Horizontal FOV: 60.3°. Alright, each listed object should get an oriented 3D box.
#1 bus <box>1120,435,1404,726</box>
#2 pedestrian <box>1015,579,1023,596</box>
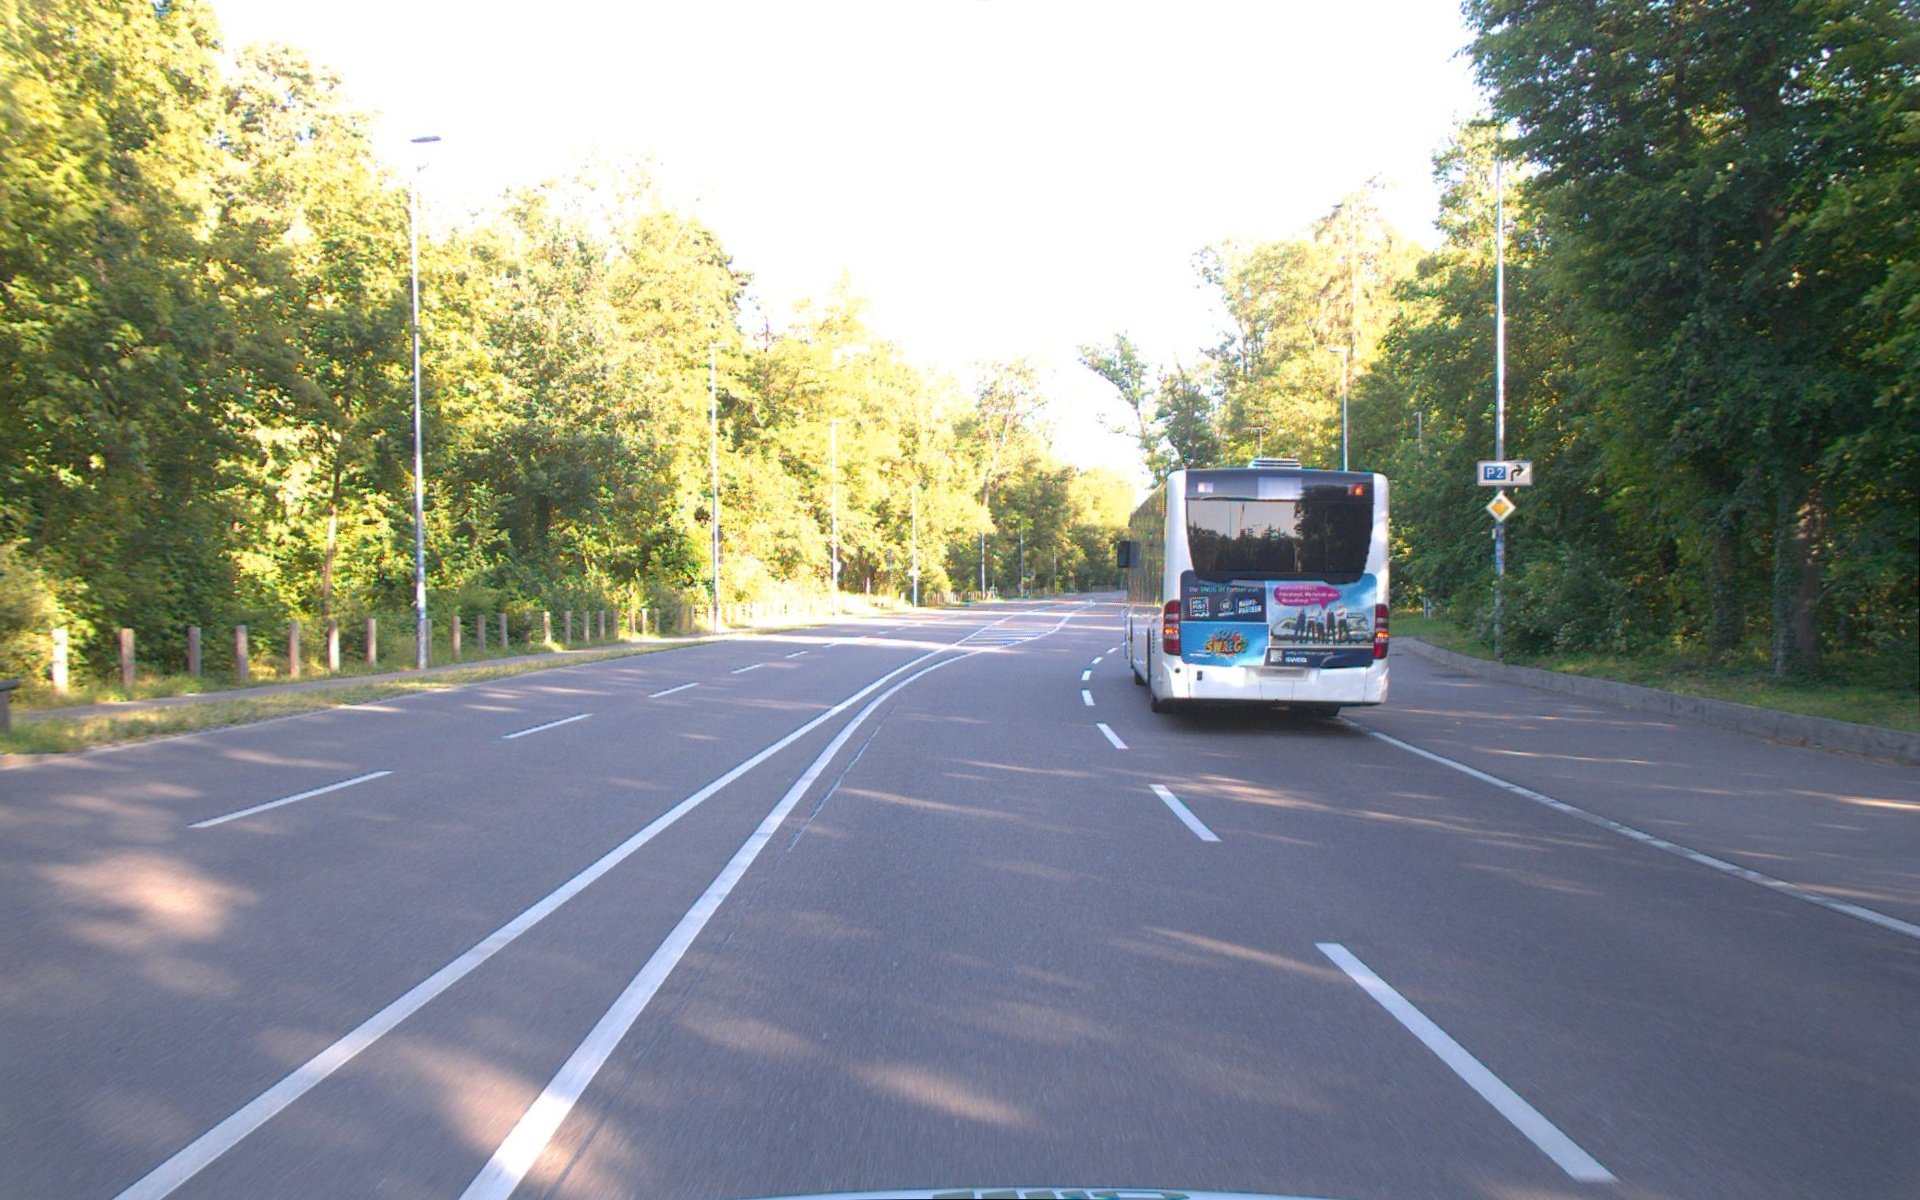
[{"bbox_3d":[3.824,-0.237,23.796,2.633,3.096,12.047,1,0,4],"label":"bus"},{"bbox_3d":[6.512,-1.414,182.166,0.763,1.844,0.771,0,0,6],"label":"pedestrian"}]
